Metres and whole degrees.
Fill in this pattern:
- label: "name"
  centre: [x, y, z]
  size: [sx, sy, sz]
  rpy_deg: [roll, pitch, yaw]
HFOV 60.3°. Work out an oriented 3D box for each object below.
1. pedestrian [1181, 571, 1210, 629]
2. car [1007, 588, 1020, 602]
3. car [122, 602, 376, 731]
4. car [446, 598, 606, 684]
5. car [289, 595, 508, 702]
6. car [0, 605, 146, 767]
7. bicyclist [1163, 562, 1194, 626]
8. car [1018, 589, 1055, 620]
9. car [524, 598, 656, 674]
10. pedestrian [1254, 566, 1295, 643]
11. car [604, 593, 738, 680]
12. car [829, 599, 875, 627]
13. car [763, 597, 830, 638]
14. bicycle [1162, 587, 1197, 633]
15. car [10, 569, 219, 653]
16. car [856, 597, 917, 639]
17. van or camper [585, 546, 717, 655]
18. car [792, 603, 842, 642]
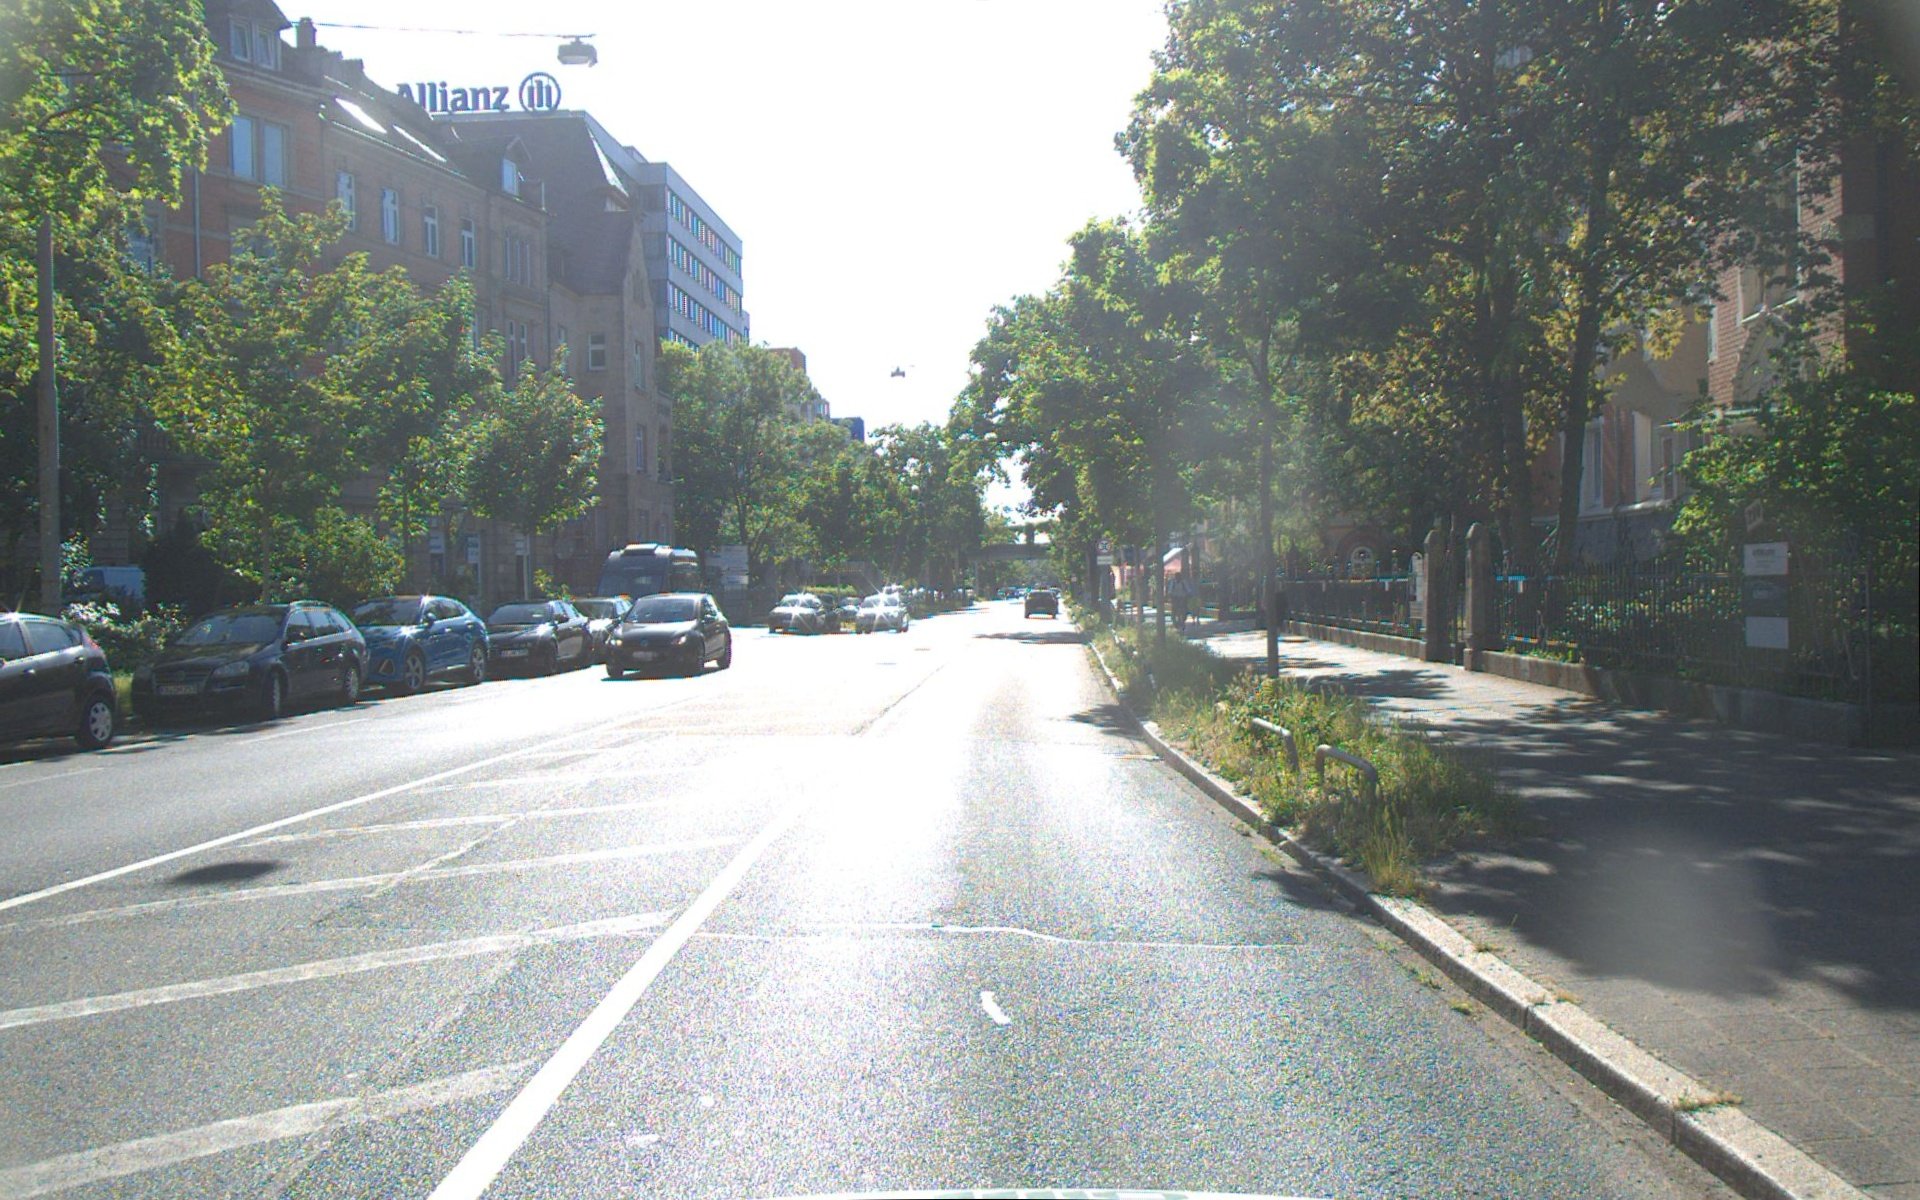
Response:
- label: "pedestrian"
  centre: [7.761, -0.004, 54.501]
  size: [0.732, 1.818, 0.811]
  rpy_deg: [-4, 0, 17]
- label: "car"
  centre: [8.116, -0.771, 250.121]
  size: [1.817, 1.856, 4.611]
  rpy_deg: [-3, 0, 2]
- label: "car"
  centre: [-9.544, 0.829, 22.576]
  size: [1.558, 1.508, 4.272]
  rpy_deg: [-3, 0, 0]
- label: "car"
  centre: [-8.539, 0.762, 32.958]
  size: [1.743, 1.438, 4.407]
  rpy_deg: [-3, 0, 3]
- label: "car"
  centre: [-9.382, 0.752, 28.057]
  size: [1.743, 1.565, 4.561]
  rpy_deg: [-3, 0, 5]
- label: "car"
  centre: [-9.850, 0.858, 16.312]
  size: [1.433, 1.527, 3.960]
  rpy_deg: [-3, 0, 3]
- label: "bicyclist"
  centre: [6.021, -0.174, 45.681]
  size: [0.608, 1.719, 0.820]
  rpy_deg: [-5, 0, -1]
- label: "car"
  centre: [4.251, 0.240, 92.280]
  size: [1.943, 1.628, 4.142]
  rpy_deg: [-1, 1, 2]
- label: "car"
  centre: [-8.392, 0.768, 37.896]
  size: [1.658, 1.482, 4.666]
  rpy_deg: [-3, 0, 3]
- label: "pedestrian"
  centre: [7.148, 0.111, 37.619]
  size: [0.680, 1.687, 0.820]
  rpy_deg: [-4, -1, 2]
- label: "car"
  centre: [-5.430, 0.636, 31.536]
  size: [1.559, 1.475, 4.135]
  rpy_deg: [-2, 0, 3]
- label: "car"
  centre: [-5.121, 0.611, 78.859]
  size: [1.643, 1.277, 4.017]
  rpy_deg: [-1, 1, 4]
- label: "car"
  centre: [-6.421, 0.676, 65.400]
  size: [1.817, 1.452, 4.722]
  rpy_deg: [2, 1, 4]
- label: "bicycle"
  centre: [6.054, 0.262, 45.686]
  size: [0.603, 1.196, 1.919]
  rpy_deg: [-5, 1, -1]
- label: "car"
  centre: [-21.286, 0.281, 41.833]
  size: [1.823, 1.947, 4.446]
  rpy_deg: [-3, -1, 27]
- label: "car"
  centre: [-2.769, 0.666, 62.880]
  size: [1.878, 1.444, 4.227]
  rpy_deg: [-1, 0, 3]
- label: "van or camper"
  centre: [-8.482, -0.021, 46.078]
  size: [2.170, 2.787, 6.091]
  rpy_deg: [-1, 1, 3]
- label: "car"
  centre: [-6.117, 0.936, 71.145]
  size: [1.818, 1.520, 4.705]
  rpy_deg: [2, 0, -2]
